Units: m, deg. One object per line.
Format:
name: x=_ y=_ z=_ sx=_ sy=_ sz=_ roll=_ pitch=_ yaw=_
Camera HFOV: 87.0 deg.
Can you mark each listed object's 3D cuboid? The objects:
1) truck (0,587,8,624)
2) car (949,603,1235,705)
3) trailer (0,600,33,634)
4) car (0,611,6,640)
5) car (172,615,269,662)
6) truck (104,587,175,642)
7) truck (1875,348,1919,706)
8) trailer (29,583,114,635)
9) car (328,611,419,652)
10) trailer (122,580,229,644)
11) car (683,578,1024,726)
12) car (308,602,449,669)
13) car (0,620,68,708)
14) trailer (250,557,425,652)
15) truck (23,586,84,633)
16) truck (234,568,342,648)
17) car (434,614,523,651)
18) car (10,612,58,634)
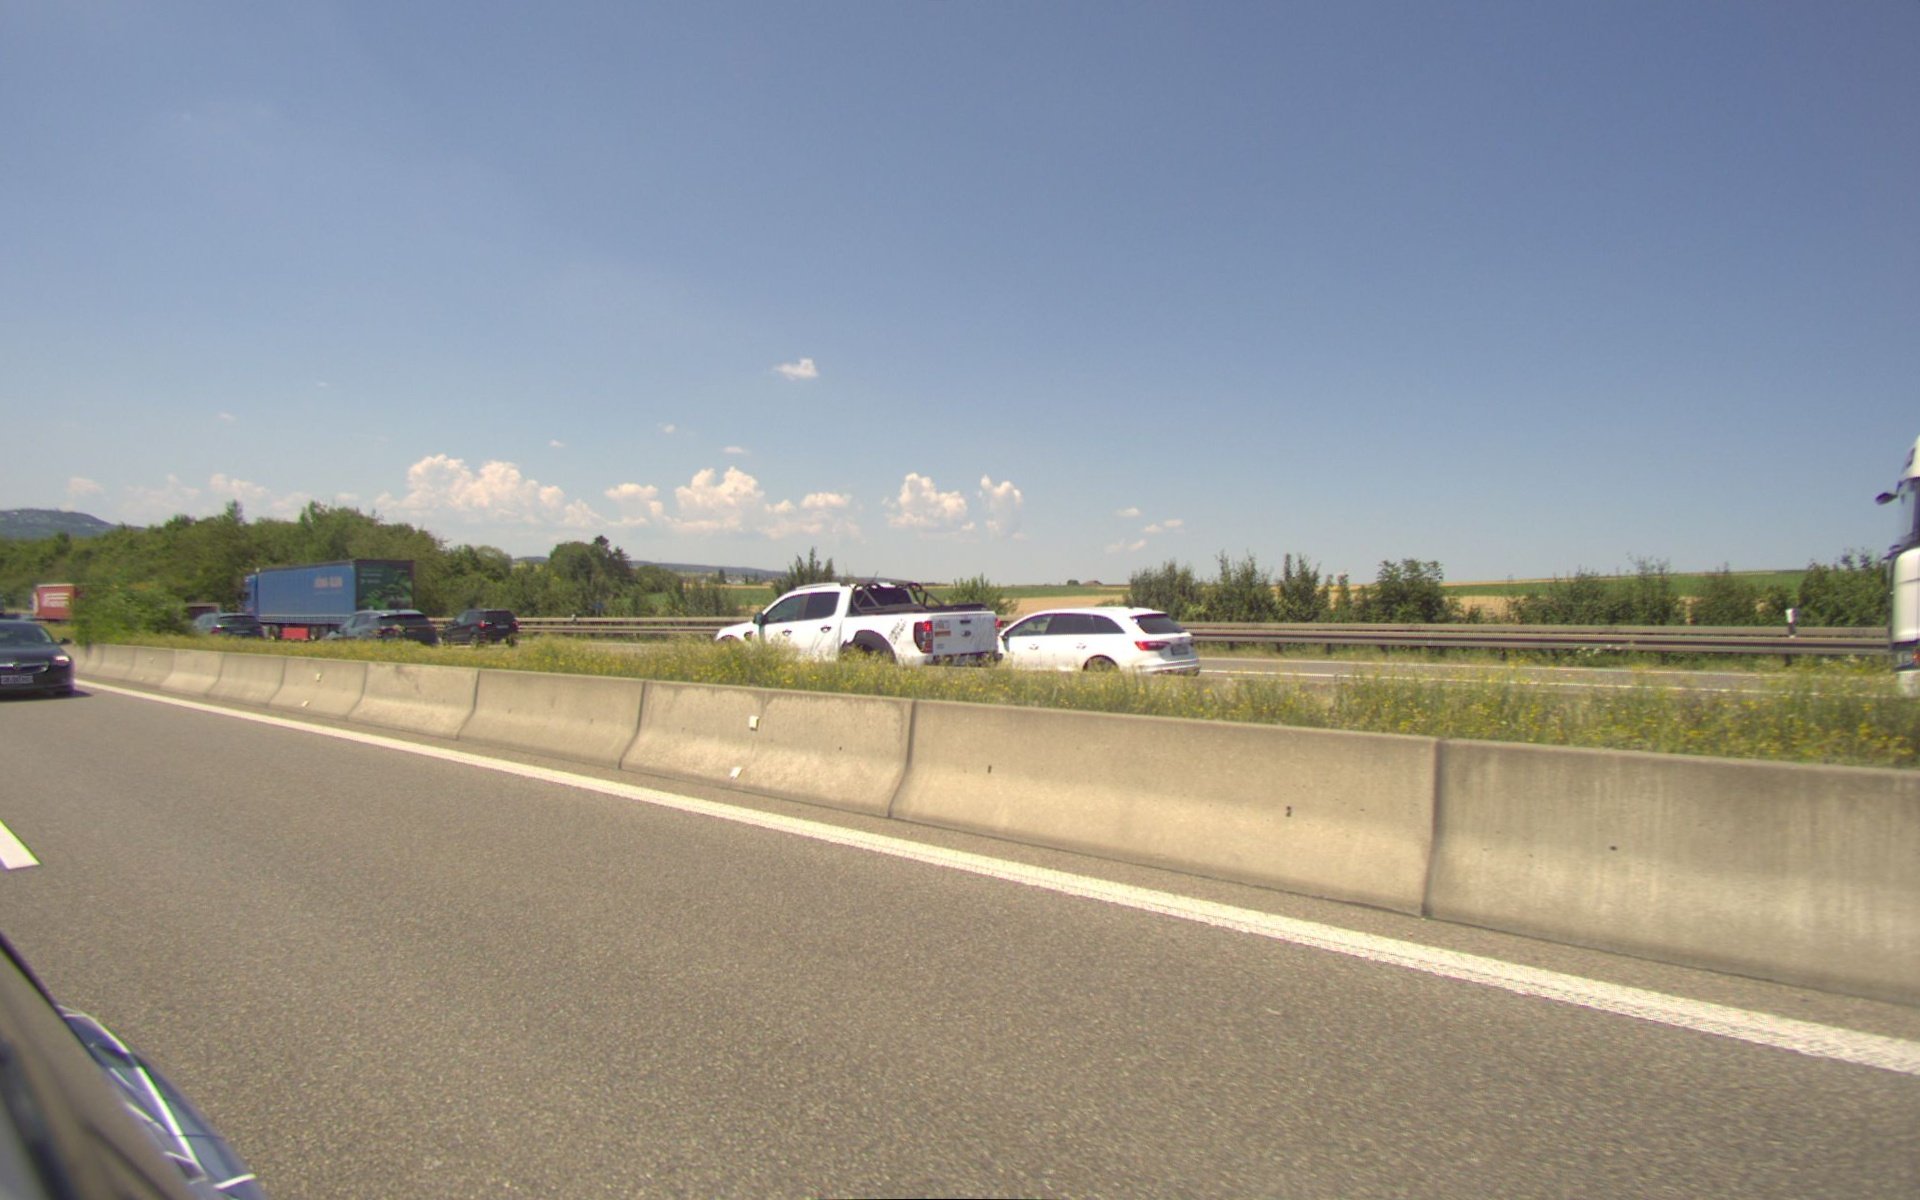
truck: x=-104.253 y=0.572 z=107.977 sx=6.167 sy=3.906 sz=2.875 roll=-1 pitch=0 yaw=37
car: x=2.103 y=0.826 z=16.955 sx=4.487 sy=1.471 sz=1.824 roll=-1 pitch=0 yaw=40
trailer: x=-98.402 y=1.712 z=103.590 sx=12.761 sy=3.230 sz=2.832 roll=-1 pitch=0 yaw=37
car: x=-68.537 y=1.761 z=70.778 sx=5.440 sy=1.985 sz=1.895 roll=-1 pitch=0 yaw=39
car: x=-28.082 y=1.412 z=38.377 sx=4.346 sy=1.646 sz=1.974 roll=-1 pitch=0 yaw=40
truck: x=-60.883 y=1.052 z=75.031 sx=7.092 sy=3.866 sz=2.723 roll=-1 pitch=0 yaw=40
truck: x=14.739 y=-0.921 z=11.655 sx=6.145 sy=4.360 sz=3.099 roll=-1 pitch=0 yaw=42
trailer: x=-75.871 y=0.769 z=86.256 sx=14.364 sy=4.131 sz=3.056 roll=-1 pitch=0 yaw=39
car: x=-21.786 y=1.152 z=37.525 sx=3.724 sy=1.414 sz=1.609 roll=-1 pitch=-1 yaw=37
trailer: x=-54.916 y=0.868 z=70.586 sx=14.368 sy=4.131 sz=2.923 roll=-1 pitch=0 yaw=40
car: x=-1.851 y=0.685 z=15.757 sx=5.674 sy=1.918 sz=1.973 roll=0 pitch=0 yaw=41
car: x=-16.183 y=0.955 z=28.087 sx=4.473 sy=1.685 sz=1.973 roll=-2 pitch=-1 yaw=40
car: x=-18.794 y=1.187 z=19.612 sx=4.749 sy=1.555 sz=1.783 roll=-1 pitch=-1 yaw=43
trailer: x=-31.563 y=0.235 z=50.850 sx=14.369 sy=4.225 sz=3.129 roll=-1 pitch=0 yaw=40
truck: x=-81.126 y=0.845 z=90.496 sx=6.306 sy=4.112 sz=3.007 roll=-1 pitch=0 yaw=38
truck: x=-36.749 y=0.424 z=55.266 sx=6.929 sy=4.121 sz=3.045 roll=-1 pitch=0 yaw=40
car: x=-19.852 y=1.321 z=41.641 sx=4.346 sy=1.396 sz=1.641 roll=-1 pitch=-1 yaw=40
car: x=-71.084 y=1.764 z=77.651 sx=5.735 sy=1.553 sz=1.895 roll=-1 pitch=0 yaw=39
